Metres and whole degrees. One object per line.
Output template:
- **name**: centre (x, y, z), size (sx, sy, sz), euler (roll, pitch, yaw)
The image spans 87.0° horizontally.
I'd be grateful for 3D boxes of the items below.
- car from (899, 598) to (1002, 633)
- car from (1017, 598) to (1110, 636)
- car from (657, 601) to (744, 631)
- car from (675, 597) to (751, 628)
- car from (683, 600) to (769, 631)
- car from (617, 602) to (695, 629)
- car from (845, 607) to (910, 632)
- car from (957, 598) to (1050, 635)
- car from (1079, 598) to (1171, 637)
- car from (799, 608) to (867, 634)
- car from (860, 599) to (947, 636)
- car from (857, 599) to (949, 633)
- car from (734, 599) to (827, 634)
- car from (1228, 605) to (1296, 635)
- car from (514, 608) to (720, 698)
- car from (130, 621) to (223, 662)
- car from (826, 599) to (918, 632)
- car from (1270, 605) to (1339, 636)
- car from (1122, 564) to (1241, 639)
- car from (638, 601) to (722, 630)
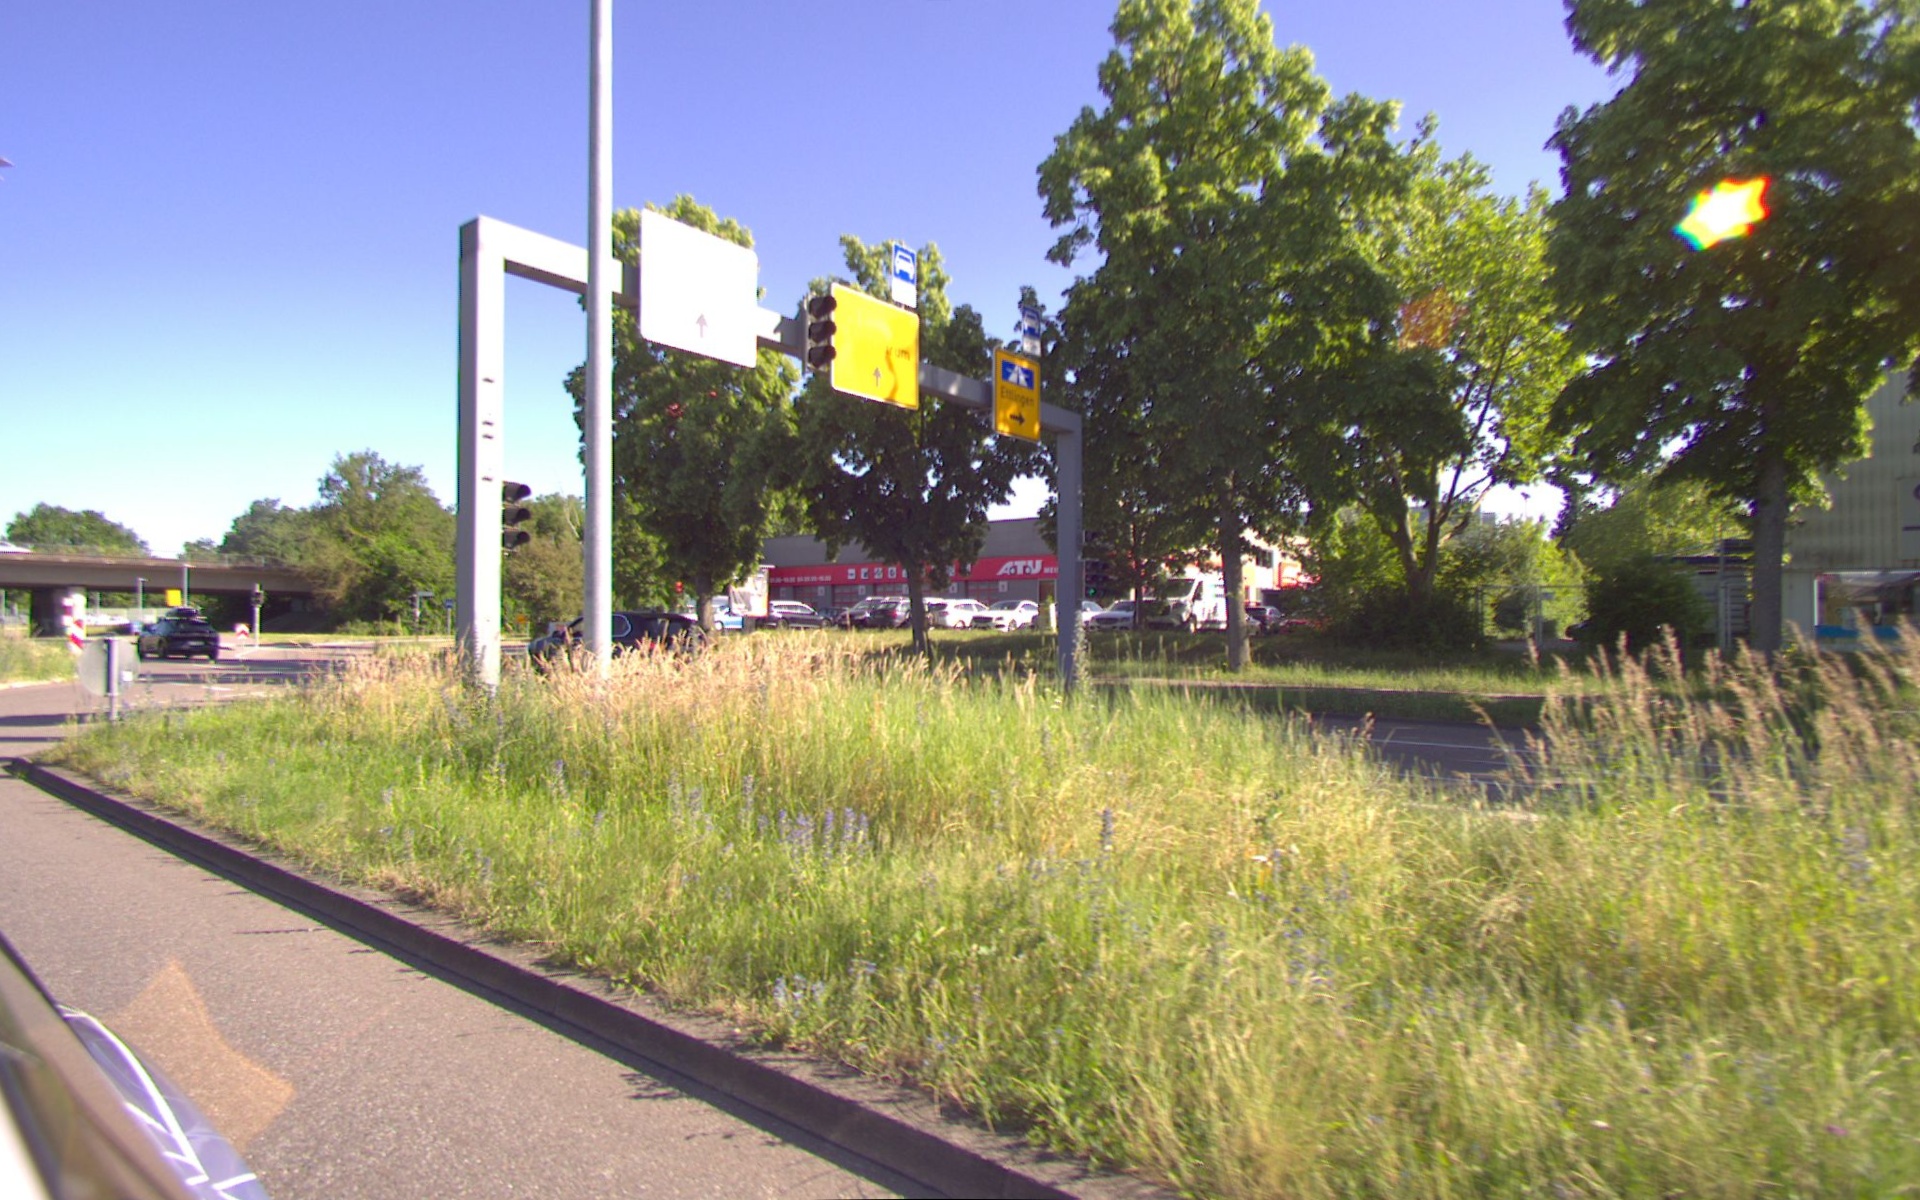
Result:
- **car**: centre (-0.352, 0.696, 42.773), size (1.944, 1.399, 4.575), euler (-1, -2, 38)
- **car**: centre (4.132, 0.691, 39.860), size (1.942, 1.399, 4.083), euler (-1, -2, 34)
- **car**: centre (-13.849, 0.869, 54.145), size (4.067, 1.563, 1.898), euler (1, -2, -42)
- **car**: centre (-17.630, 0.896, 72.311), size (4.985, 2.168, 1.892), euler (0, -2, 6)
- **car**: centre (-12.100, 0.832, 52.529), size (1.818, 1.563, 4.073), euler (-1, -2, 42)
- **car**: centre (-17.768, 0.930, 59.138), size (4.061, 1.563, 1.901), euler (1, -2, -30)
- **car**: centre (-5.130, 1.235, 63.328), size (1.892, 1.466, 4.079), euler (-1, -2, 37)
- **car**: centre (1.825, 0.700, 41.041), size (1.942, 1.399, 4.083), euler (-1, -2, 34)
- **car**: centre (6.323, 0.682, 38.432), size (1.942, 1.399, 4.083), euler (-1, -2, 34)
- **car**: centre (-7.545, 1.252, 60.083), size (3.980, 1.466, 1.762), euler (-1, -2, 39)
- **car**: centre (-3.198, 0.995, 56.721), size (5.128, 1.971, 1.760), euler (-1, -2, 42)
- **car**: centre (-2.415, 0.711, 43.838), size (1.942, 1.399, 4.083), euler (-1, -2, 34)
- **car**: centre (-8.559, 0.817, 48.453), size (1.945, 1.563, 4.076), euler (-1, -2, 40)
- **car**: centre (15.357, 1.030, 51.341), size (1.894, 1.466, 4.076), euler (-1, -2, 40)
- **car**: centre (-7.377, 1.100, 21.580), size (4.623, 1.710, 1.923), euler (-1, -3, 38)
- **car**: centre (-31.403, 1.650, 40.529), size (4.566, 1.554, 1.858), euler (-1, -3, 38)
- **car**: centre (-3.932, 0.716, 45.630), size (1.943, 1.399, 4.080), euler (-1, -2, 37)
- **car**: centre (16.964, 1.023, 49.780), size (1.894, 1.466, 4.076), euler (-1, -2, 40)
- **car**: centre (8.100, 0.130, 36.502), size (2.201, 2.452, 5.828), euler (-1, -2, 34)
- **car**: centre (-15.481, 0.879, 55.972), size (4.066, 1.563, 1.899), euler (1, -2, -40)
